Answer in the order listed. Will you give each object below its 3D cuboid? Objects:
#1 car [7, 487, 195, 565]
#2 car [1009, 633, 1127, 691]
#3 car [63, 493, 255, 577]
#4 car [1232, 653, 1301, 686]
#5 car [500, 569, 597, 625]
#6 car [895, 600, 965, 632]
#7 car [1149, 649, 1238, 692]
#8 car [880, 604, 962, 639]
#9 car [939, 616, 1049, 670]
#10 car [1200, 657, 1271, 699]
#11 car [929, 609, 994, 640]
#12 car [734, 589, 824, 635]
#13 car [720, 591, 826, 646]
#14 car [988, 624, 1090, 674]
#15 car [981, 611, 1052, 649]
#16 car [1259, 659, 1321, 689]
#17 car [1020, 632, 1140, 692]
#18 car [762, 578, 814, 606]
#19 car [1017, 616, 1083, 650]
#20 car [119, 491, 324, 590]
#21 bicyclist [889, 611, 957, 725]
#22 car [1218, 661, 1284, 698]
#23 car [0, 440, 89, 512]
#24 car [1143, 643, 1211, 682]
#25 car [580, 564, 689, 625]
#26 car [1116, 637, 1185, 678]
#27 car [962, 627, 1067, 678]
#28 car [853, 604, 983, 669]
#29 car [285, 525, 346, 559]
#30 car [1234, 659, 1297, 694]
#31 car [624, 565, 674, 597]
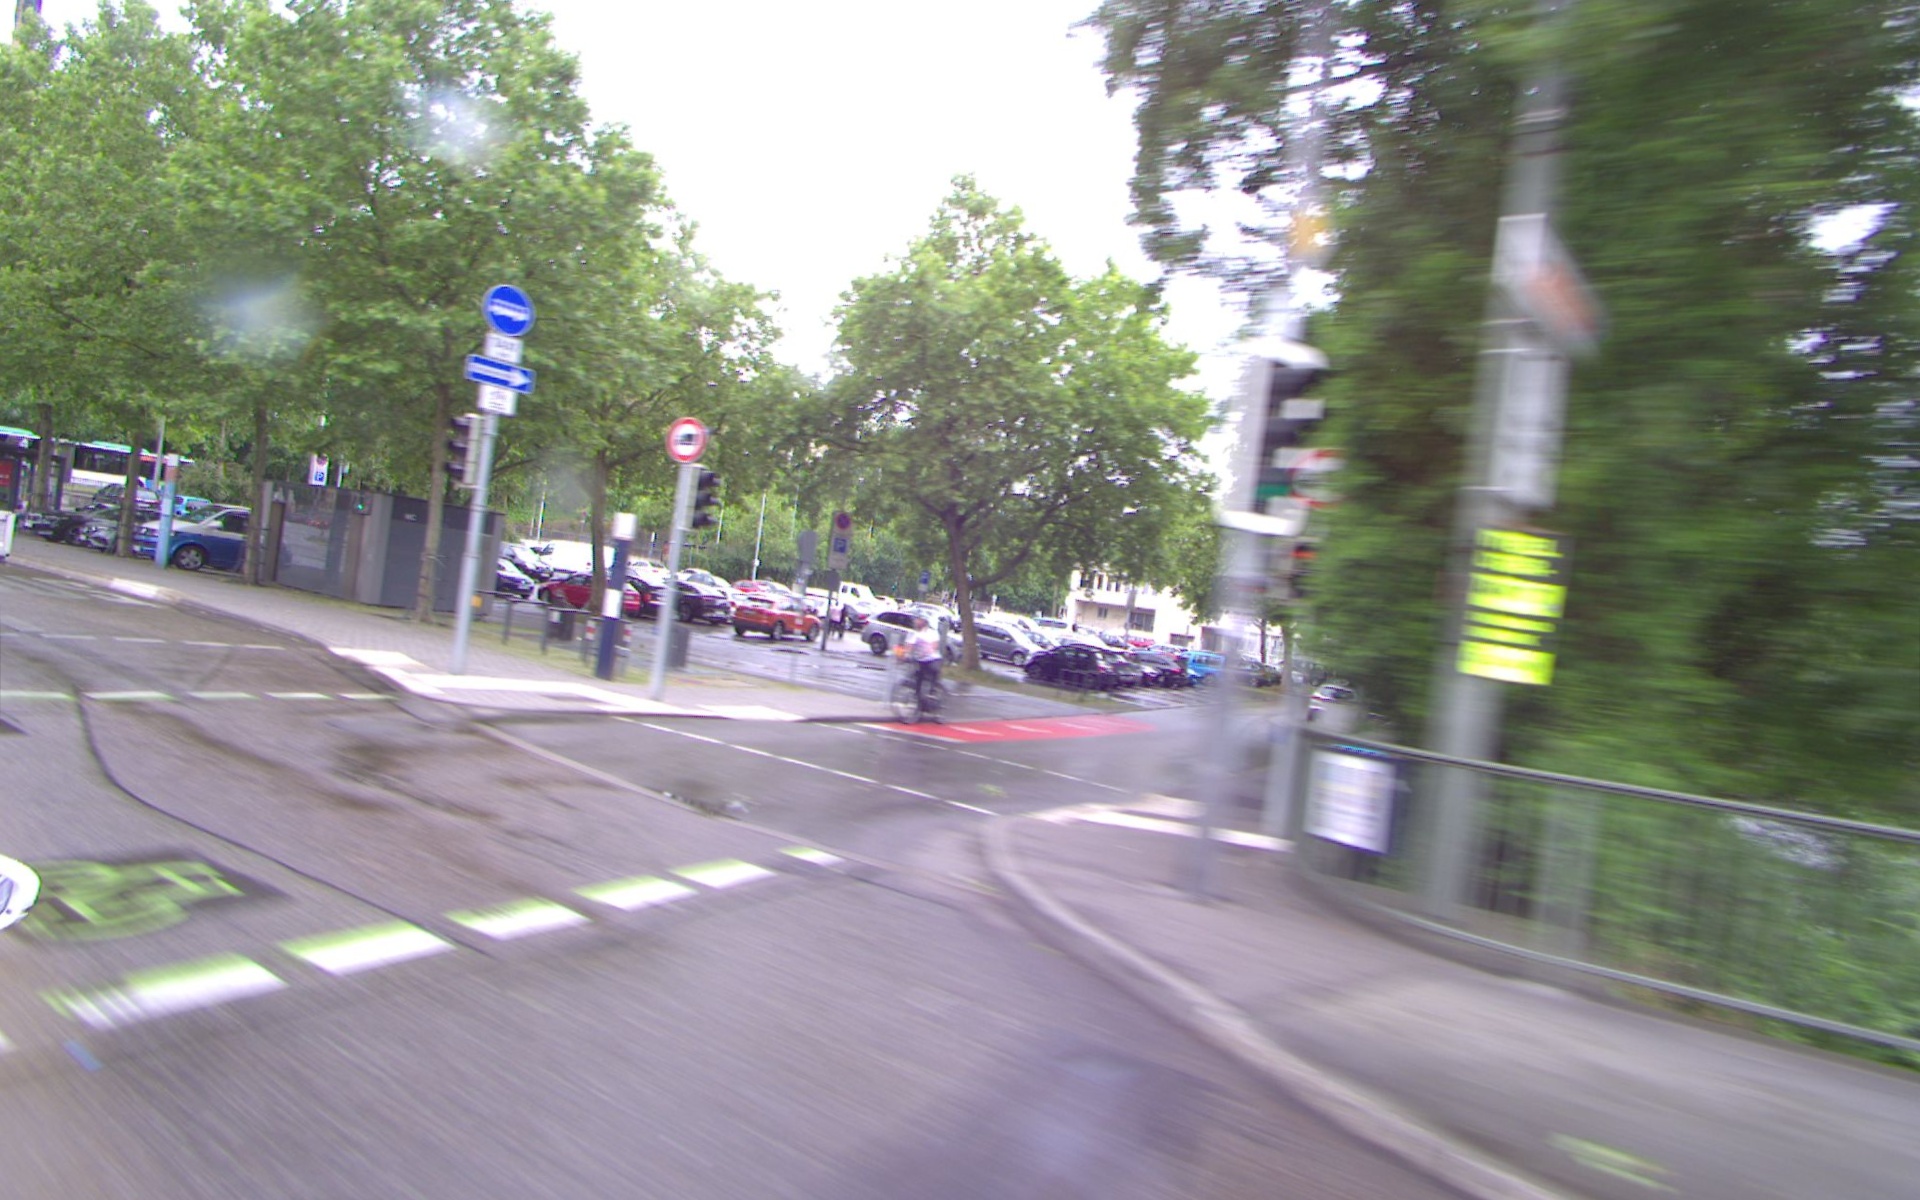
[{"bbox_3d":[-26.748,-2.270,31.454,1.714,1.525,3.999,8,-4,32],"label":"car"},{"bbox_3d":[4.127,2.368,38.464,3.945,1.608,1.806,8,-1,26],"label":"car"},{"bbox_3d":[-24.184,-1.925,30.514,1.885,1.667,3.999,8,-4,32],"label":"car"},{"bbox_3d":[23.478,5.308,77.100,4.521,1.777,1.933,7,-2,34],"label":"car"},{"bbox_3d":[-18.051,-0.143,44.120,3.936,1.923,1.832,5,-5,33],"label":"car"},{"bbox_3d":[-2.177,1.149,73.262,4.511,1.616,2.001,8,-2,23],"label":"car"},{"bbox_3d":[13.549,4.070,58.488,4.515,1.777,1.936,7,-2,28],"label":"car"},{"bbox_3d":[-2.396,1.303,61.781,4.511,1.453,2.001,8,-2,23],"label":"car"},{"bbox_3d":[1.564,1.984,46.288,4.515,1.777,1.936,7,-2,28],"label":"car"},{"bbox_3d":[17.639,4.978,64.331,3.928,2.004,2.000,8,-1,24],"label":"car"},{"bbox_3d":[0.151,1.879,78.134,4.511,1.673,1.886,8,-2,23],"label":"car"},{"bbox_3d":[-8.864,0.582,49.290,3.933,1.681,1.810,5,-5,31],"label":"car"},{"bbox_3d":[-7.100,0.766,38.675,1.774,1.640,4.133,8,-1,25],"label":"car"},{"bbox_3d":[3.933,2.417,50.139,4.515,1.777,1.936,7,-2,28],"label":"car"},{"bbox_3d":[4.123,2.182,73.167,4.515,2.037,1.999,7,-2,28],"label":"car"},{"bbox_3d":[27.324,6.093,83.317,4.515,1.777,1.936,7,-2,28],"label":"car"},{"bbox_3d":[4.840,2.499,40.627,4.268,1.729,1.806,8,-1,26],"label":"car"},{"bbox_3d":[-12.365,-0.573,72.417,3.355,1.533,1.657,8,-1,36],"label":"car"},{"bbox_3d":[6.908,2.522,77.387,4.511,1.868,2.001,8,-2,23],"label":"car"},{"bbox_3d":[-20.477,-1.596,28.044,1.937,1.946,3.997,8,-3,32],"label":"car"},{"bbox_3d":[-0.659,1.223,17.947,0.738,1.908,0.645,8,-2,22],"label":"bicyclist"},{"bbox_3d":[19.734,5.384,68.193,3.928,1.837,2.000,8,-1,24],"label":"car"},{"bbox_3d":[-46.019,-6.232,50.370,4.155,3.005,2.078,7,-1,30],"label":"car"},{"bbox_3d":[14.748,4.225,68.384,3.928,2.037,2.000,8,-1,24],"label":"car"},{"bbox_3d":[-12.900,-0.215,39.798,3.936,1.923,1.832,5,-5,33],"label":"car"},{"bbox_3d":[12.682,3.821,66.789,3.928,2.037,2.000,8,-1,24],"label":"car"},{"bbox_3d":[2.615,2.520,48.457,4.515,1.777,1.936,7,-2,28],"label":"car"},{"bbox_3d":[-1.644,1.388,38.689,4.505,1.784,1.806,8,-1,26],"label":"car"},{"bbox_3d":[-40.752,-3.655,63.593,3.546,1.586,1.635,8,-1,30],"label":"car"},{"bbox_3d":[21.660,5.444,71.326,3.928,1.837,2.000,8,-1,24],"label":"car"},{"bbox_3d":[-24.487,-1.515,79.222,3.946,1.945,1.882,7,-1,43],"label":"car"}]
